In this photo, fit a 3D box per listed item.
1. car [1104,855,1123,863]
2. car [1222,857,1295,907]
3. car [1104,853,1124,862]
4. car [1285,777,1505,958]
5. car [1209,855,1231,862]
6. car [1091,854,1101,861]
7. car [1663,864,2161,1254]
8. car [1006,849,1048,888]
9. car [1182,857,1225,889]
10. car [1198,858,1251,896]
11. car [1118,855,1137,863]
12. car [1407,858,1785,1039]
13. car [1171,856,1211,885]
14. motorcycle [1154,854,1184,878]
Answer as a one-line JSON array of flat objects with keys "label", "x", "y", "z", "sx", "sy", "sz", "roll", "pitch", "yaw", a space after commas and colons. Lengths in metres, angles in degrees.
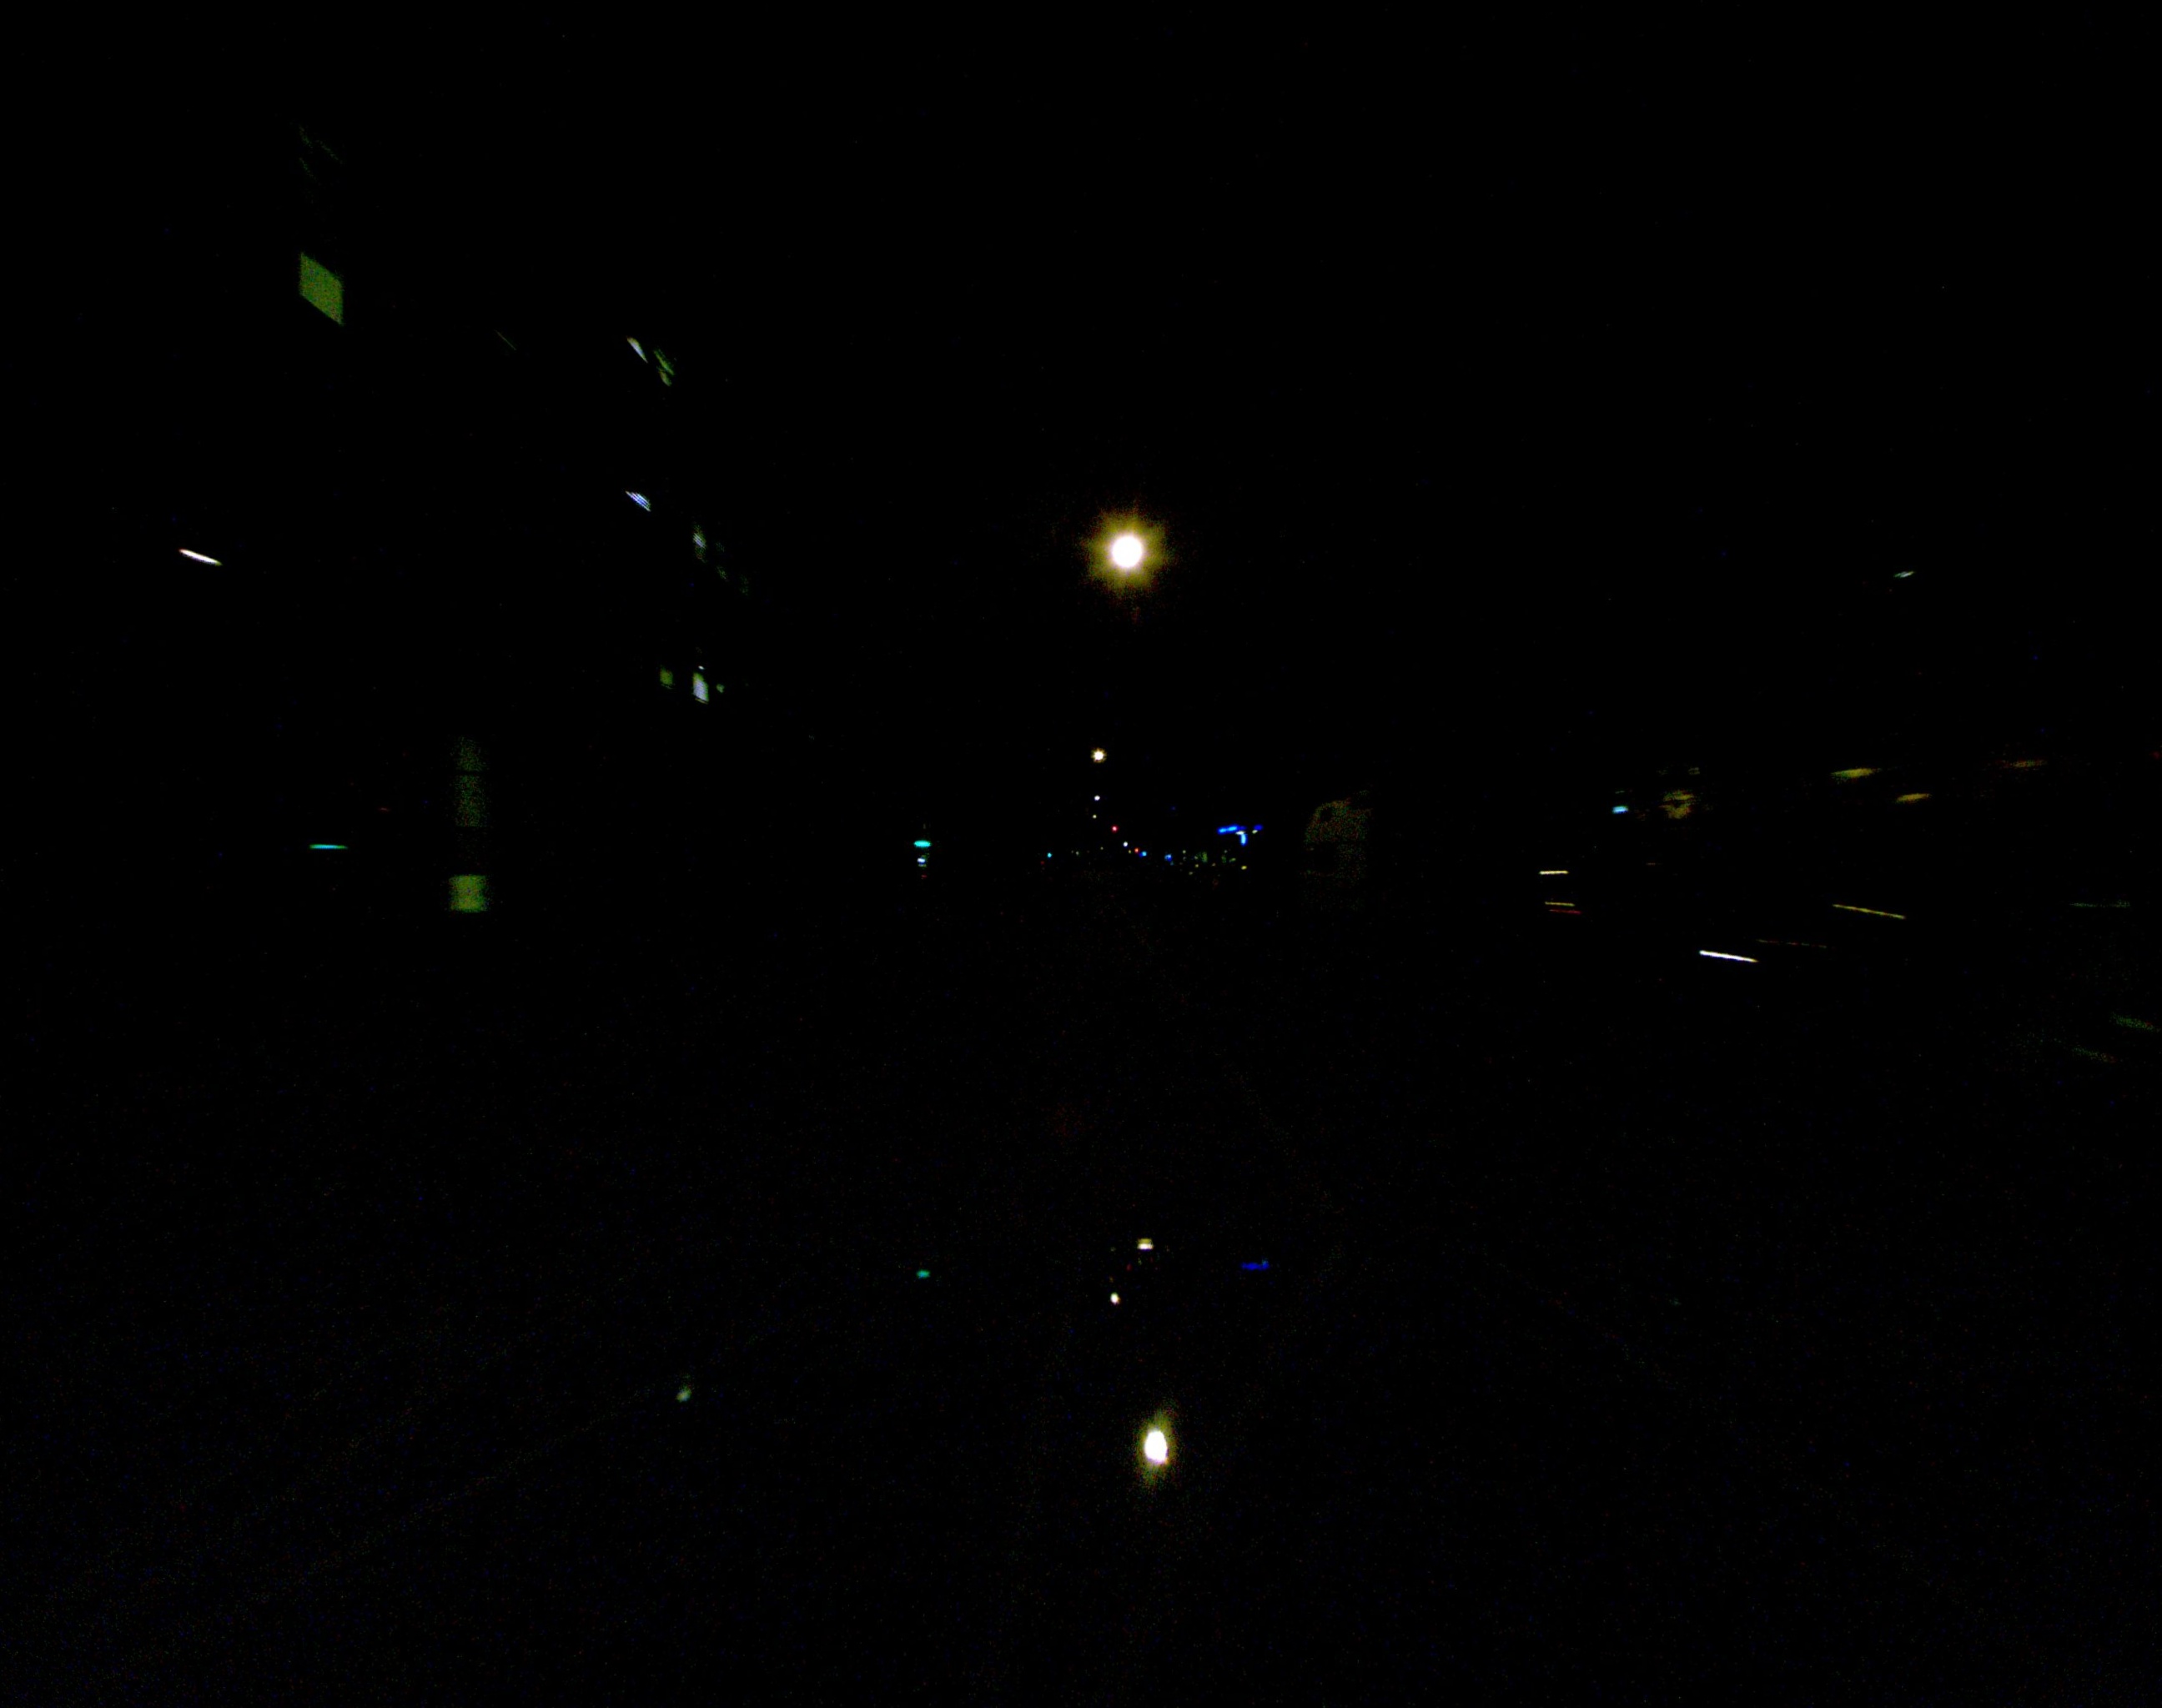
[{"label": "car", "x": 6.963, "y": 1.032, "z": 164.144, "sx": 3.848, "sy": 1.781, "sz": 1.634, "roll": 1, "pitch": 1, "yaw": -3}, {"label": "car", "x": 5.953, "y": 0.895, "z": 25.884, "sx": 1.649, "sy": 1.496, "sz": 3.861, "roll": -2, "pitch": 0, "yaw": 2}, {"label": "car", "x": 7.045, "y": 0.821, "z": 160.650, "sx": 4.055, "sy": 1.879, "sz": 1.634, "roll": 1, "pitch": 1, "yaw": -3}, {"label": "car", "x": 5.782, "y": 0.220, "z": 14.846, "sx": 2.184, "sy": 2.892, "sz": 4.909, "roll": -2, "pitch": 0, "yaw": 0}, {"label": "car", "x": 29.072, "y": 0.875, "z": 159.159, "sx": 4.281, "sy": 1.469, "sz": 1.730, "roll": -1, "pitch": 0, "yaw": -27}, {"label": "car", "x": 3.310, "y": 0.731, "z": 168.647, "sx": 1.936, "sy": 1.646, "sz": 3.833, "roll": 0, "pitch": 0, "yaw": 0}, {"label": "car", "x": 5.528, "y": 0.907, "z": 3.877, "sx": 1.746, "sy": 1.597, "sz": 4.297, "roll": -2, "pitch": 0, "yaw": -1}, {"label": "car", "x": -2.836, "y": 0.737, "z": 40.683, "sx": 1.956, "sy": 1.952, "sz": 4.603, "roll": 0, "pitch": 0, "yaw": -1}, {"label": "car", "x": 6.062, "y": 0.926, "z": 37.960, "sx": 1.448, "sy": 1.421, "sz": 3.903, "roll": -3, "pitch": 0, "yaw": 0}, {"label": "car", "x": 5.958, "y": 0.932, "z": 31.865, "sx": 1.551, "sy": 1.447, "sz": 3.368, "roll": -2, "pitch": 0, "yaw": 0}, {"label": "car", "x": 9.441, "y": 1.086, "z": 153.824, "sx": 3.763, "sy": 1.576, "sz": 1.634, "roll": 1, "pitch": 1, "yaw": -3}, {"label": "car", "x": 5.639, "y": 0.889, "z": 9.070, "sx": 1.746, "sy": 1.597, "sz": 4.116, "roll": -2, "pitch": 0, "yaw": 1}, {"label": "car", "x": 6.145, "y": 0.874, "z": 42.761, "sx": 1.646, "sy": 1.495, "sz": 3.903, "roll": -2, "pitch": 0, "yaw": 0}, {"label": "motorcycle", "x": 6.062, "y": 0.836, "z": 52.223, "sx": 1.909, "sy": 1.541, "sz": 0.638, "roll": -2, "pitch": 1, "yaw": -19}]
